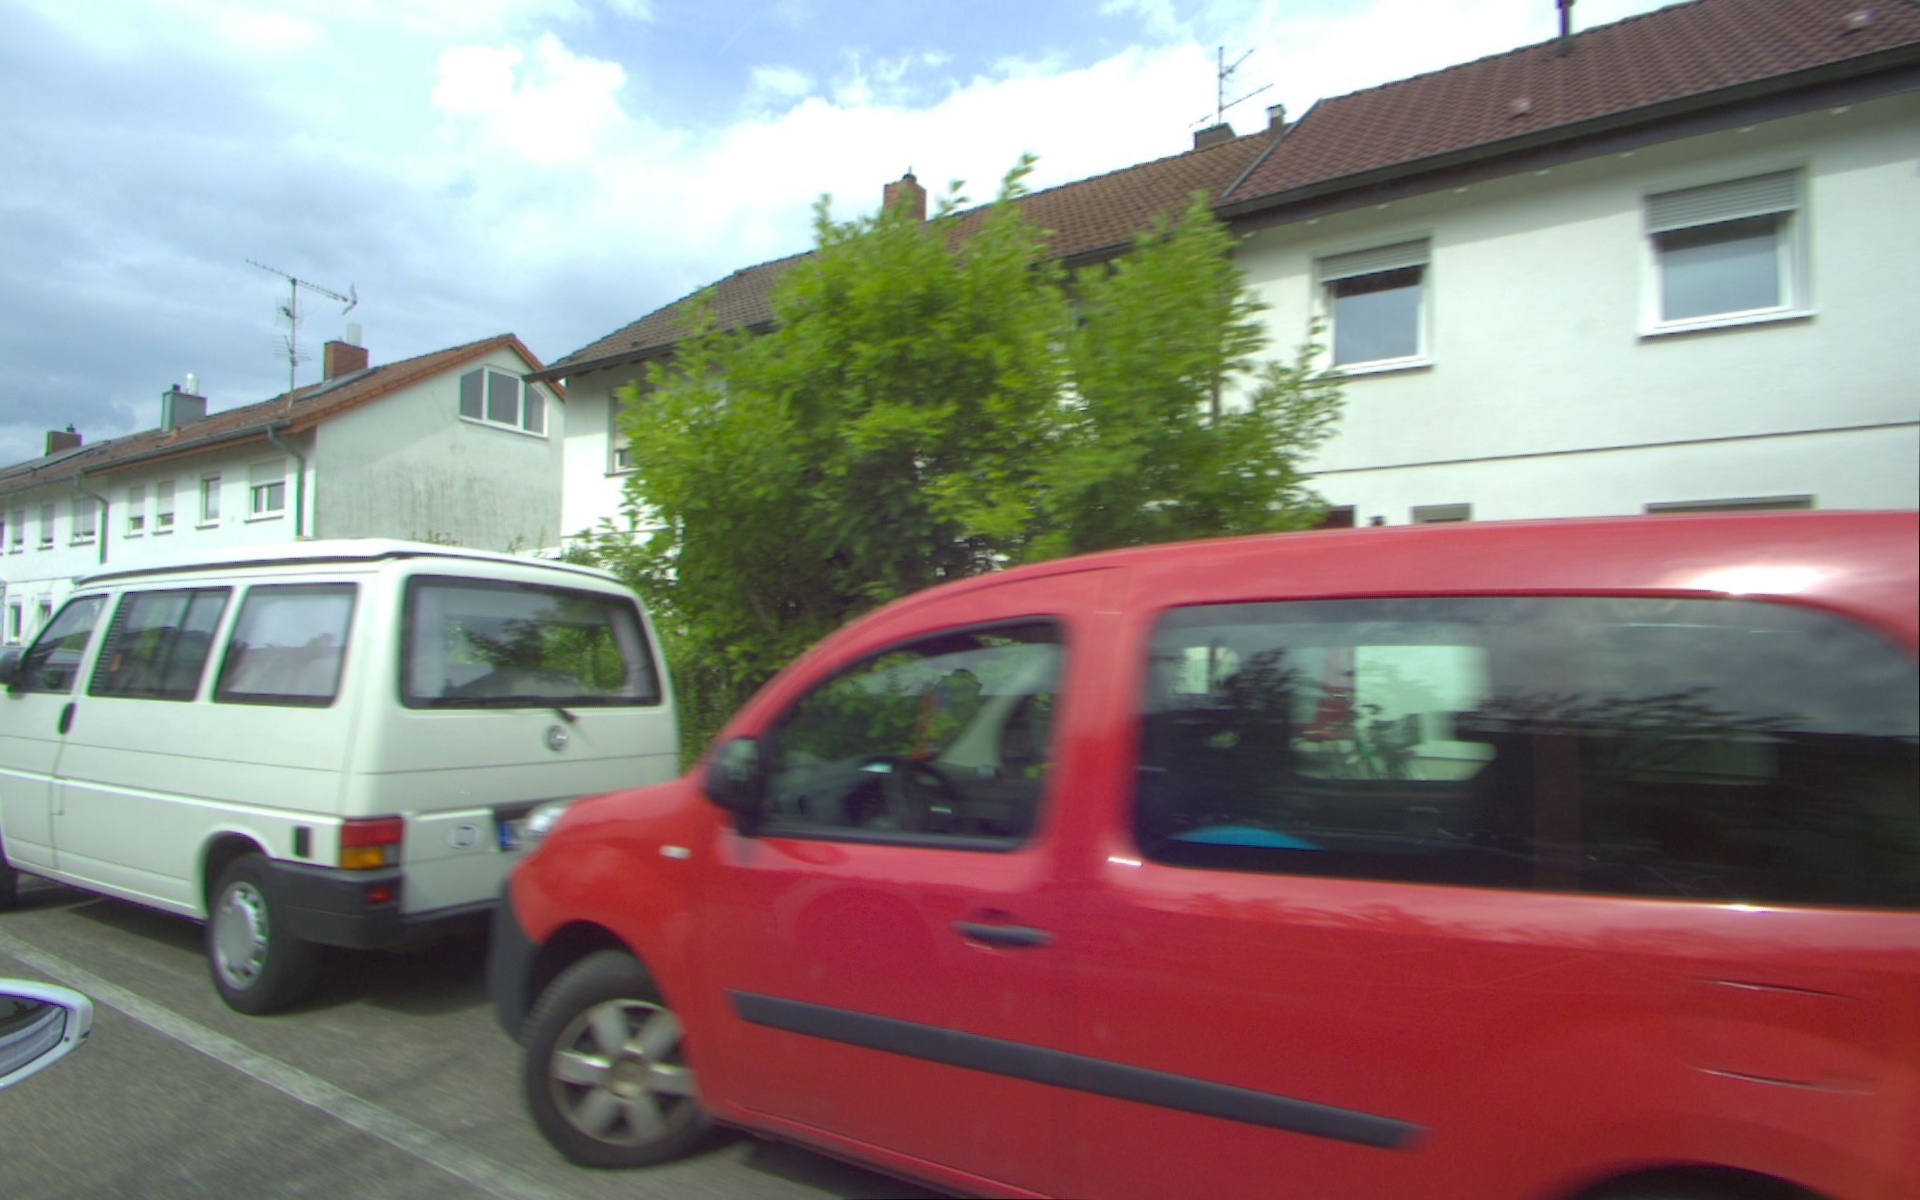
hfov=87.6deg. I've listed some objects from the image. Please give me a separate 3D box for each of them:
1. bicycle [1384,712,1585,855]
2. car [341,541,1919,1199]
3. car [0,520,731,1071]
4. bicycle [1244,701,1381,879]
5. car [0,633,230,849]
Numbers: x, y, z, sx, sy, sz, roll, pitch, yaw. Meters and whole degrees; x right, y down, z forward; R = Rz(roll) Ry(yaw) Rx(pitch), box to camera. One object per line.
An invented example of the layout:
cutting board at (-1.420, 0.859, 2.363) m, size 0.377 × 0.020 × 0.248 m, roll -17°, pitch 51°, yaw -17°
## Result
bicycle at (3.981, 1.364, 7.754) m, size 0.731 × 0.876 × 1.593 m, roll 1°, pitch -2°, yaw 1°
car at (0.370, 0.810, 2.966) m, size 4.342 × 1.671 × 1.810 m, roll -1°, pitch -3°, yaw 29°
car at (-3.760, 0.771, 5.658) m, size 4.676 × 1.971 × 2.019 m, roll -1°, pitch -3°, yaw 30°
bicycle at (2.407, 1.186, 6.703) m, size 0.552 × 0.919 × 1.876 m, roll 0°, pitch -3°, yaw 29°
car at (-8.051, 1.008, 8.281) m, size 4.071 × 1.478 × 1.898 m, roll -1°, pitch -3°, yaw 33°
